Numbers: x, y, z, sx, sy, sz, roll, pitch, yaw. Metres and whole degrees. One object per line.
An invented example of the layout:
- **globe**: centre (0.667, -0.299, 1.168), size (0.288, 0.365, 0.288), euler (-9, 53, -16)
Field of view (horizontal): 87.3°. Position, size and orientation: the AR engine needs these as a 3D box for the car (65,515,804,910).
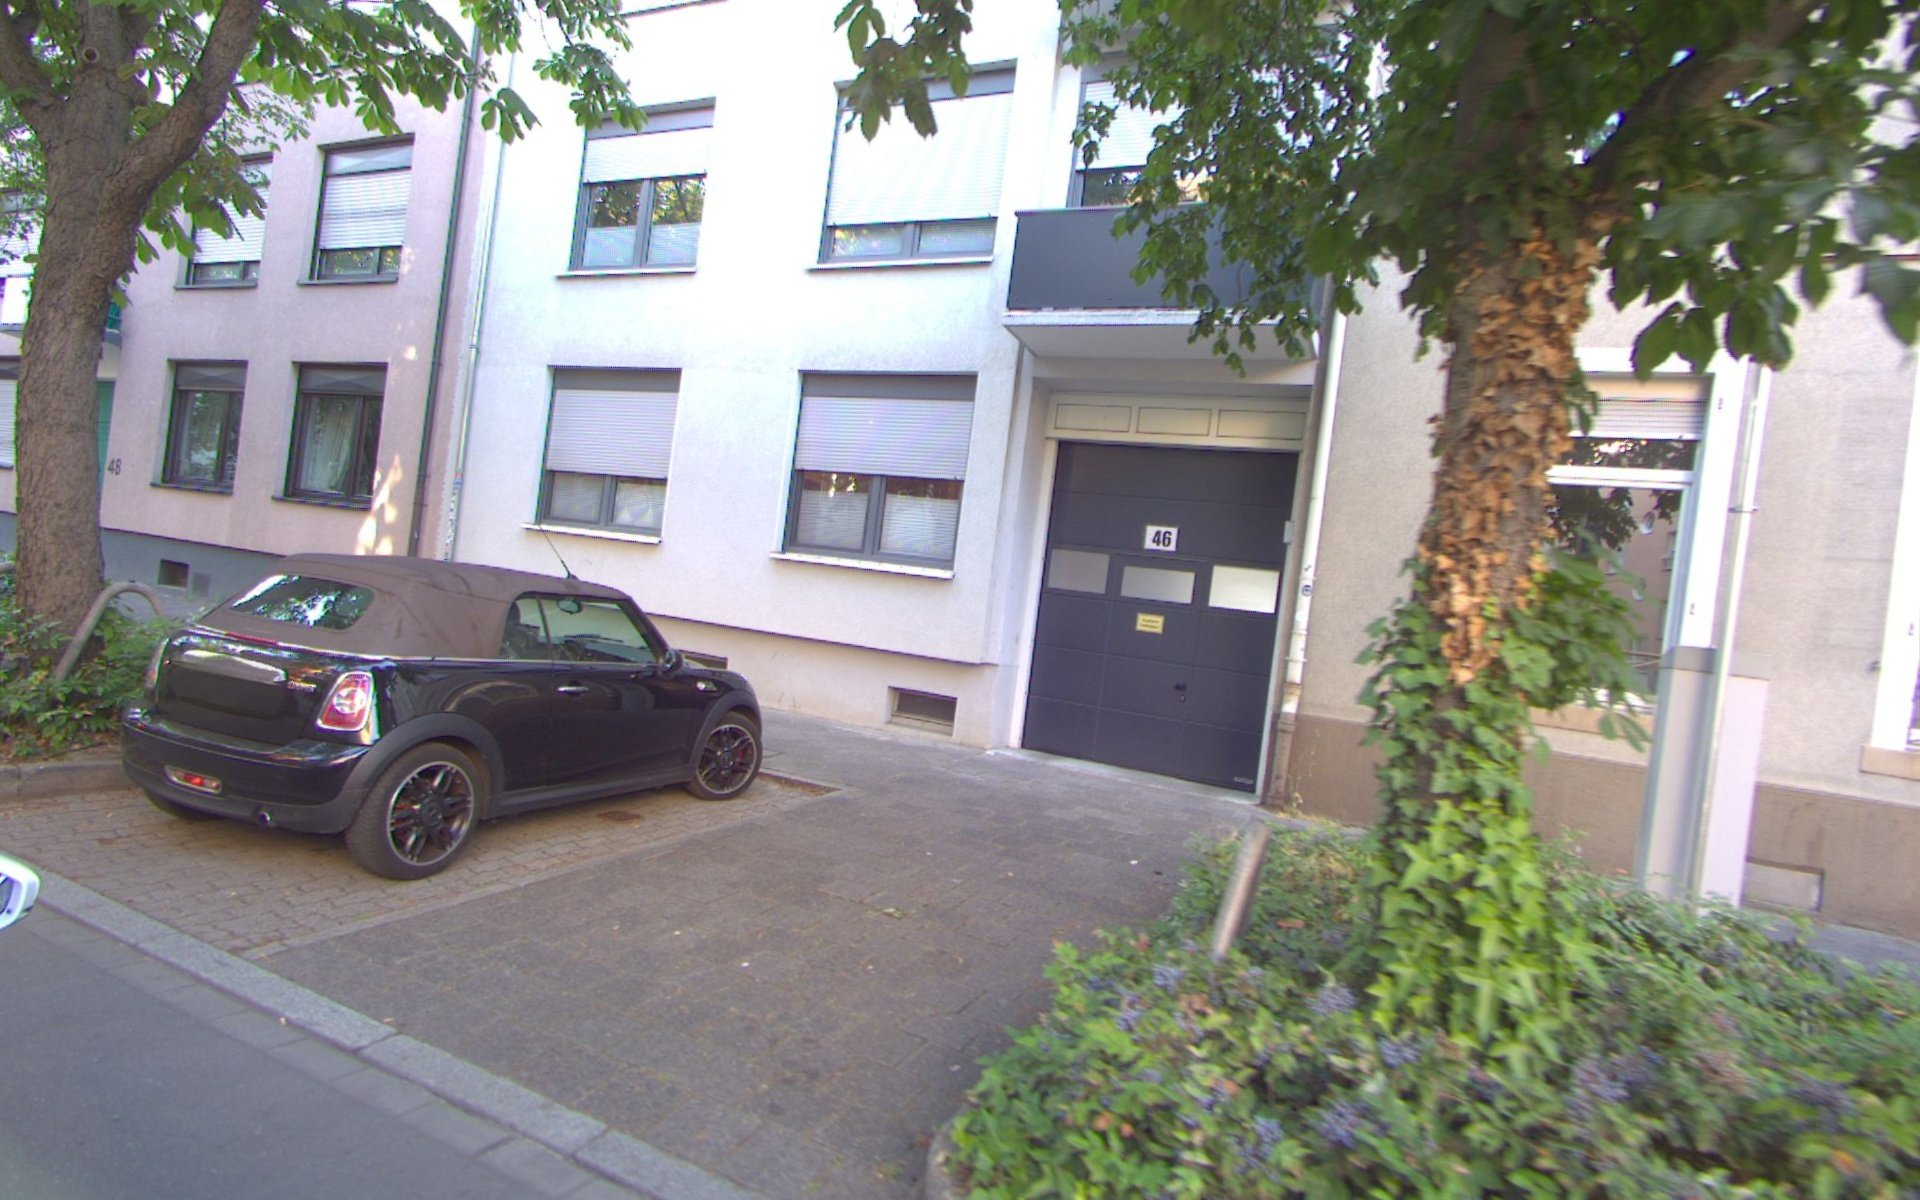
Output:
- **car**: centre (-2.619, 0.467, 6.014), size (1.597, 1.446, 3.711), euler (7, 2, 21)
